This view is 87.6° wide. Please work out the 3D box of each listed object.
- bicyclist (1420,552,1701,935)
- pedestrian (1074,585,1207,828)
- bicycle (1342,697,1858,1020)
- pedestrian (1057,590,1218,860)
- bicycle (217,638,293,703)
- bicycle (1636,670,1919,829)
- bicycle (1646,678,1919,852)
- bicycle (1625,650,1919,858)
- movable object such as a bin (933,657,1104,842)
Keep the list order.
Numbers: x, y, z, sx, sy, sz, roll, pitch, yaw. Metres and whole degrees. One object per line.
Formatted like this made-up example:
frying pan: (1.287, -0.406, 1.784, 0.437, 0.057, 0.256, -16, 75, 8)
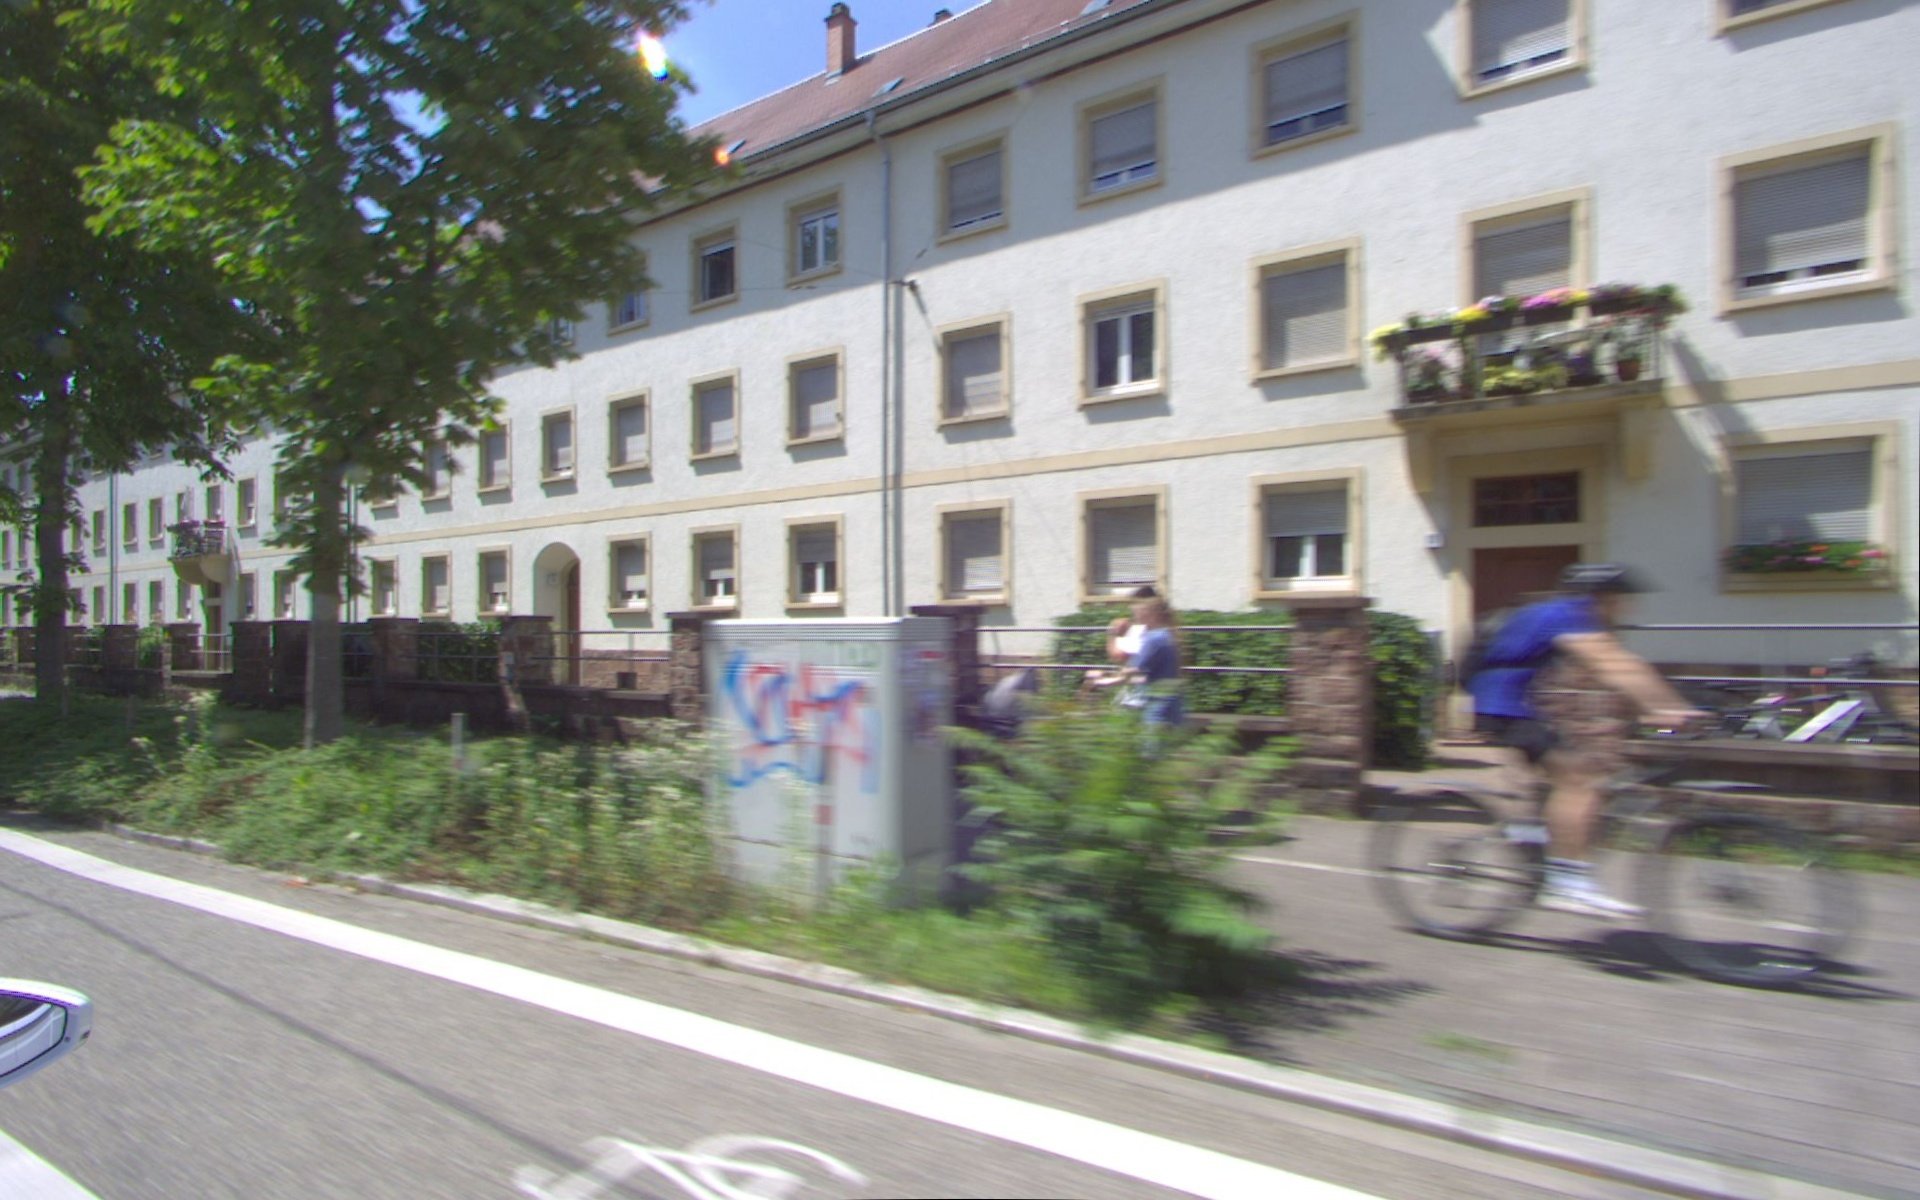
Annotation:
bicyclist: (2.656, 0.572, 4.445, 0.997, 1.470, 0.709, -1, -2, 36)
pedestrian: (1.353, 0.745, 7.473, 0.746, 1.692, 0.695, -1, 1, 33)
bicycle: (2.682, 1.005, 4.388, 1.799, 1.064, 0.600, -1, -2, 37)
pedestrian: (1.214, 0.793, 6.816, 0.857, 1.692, 0.695, -1, 1, 33)
bicycle: (-14.321, 1.408, 20.324, 1.943, 1.226, 0.595, -1, 1, 35)
bicycle: (6.350, 1.106, 7.737, 1.814, 1.077, 0.596, -1, -1, 29)
bicycle: (5.955, 1.120, 7.018, 1.836, 1.077, 0.526, -1, -1, 29)
bicycle: (5.366, 0.936, 6.481, 1.731, 1.190, 0.594, -1, -2, 38)
movable object such as a bin: (0.431, 1.045, 7.349, 1.022, 1.202, 0.695, -1, 1, 33)
